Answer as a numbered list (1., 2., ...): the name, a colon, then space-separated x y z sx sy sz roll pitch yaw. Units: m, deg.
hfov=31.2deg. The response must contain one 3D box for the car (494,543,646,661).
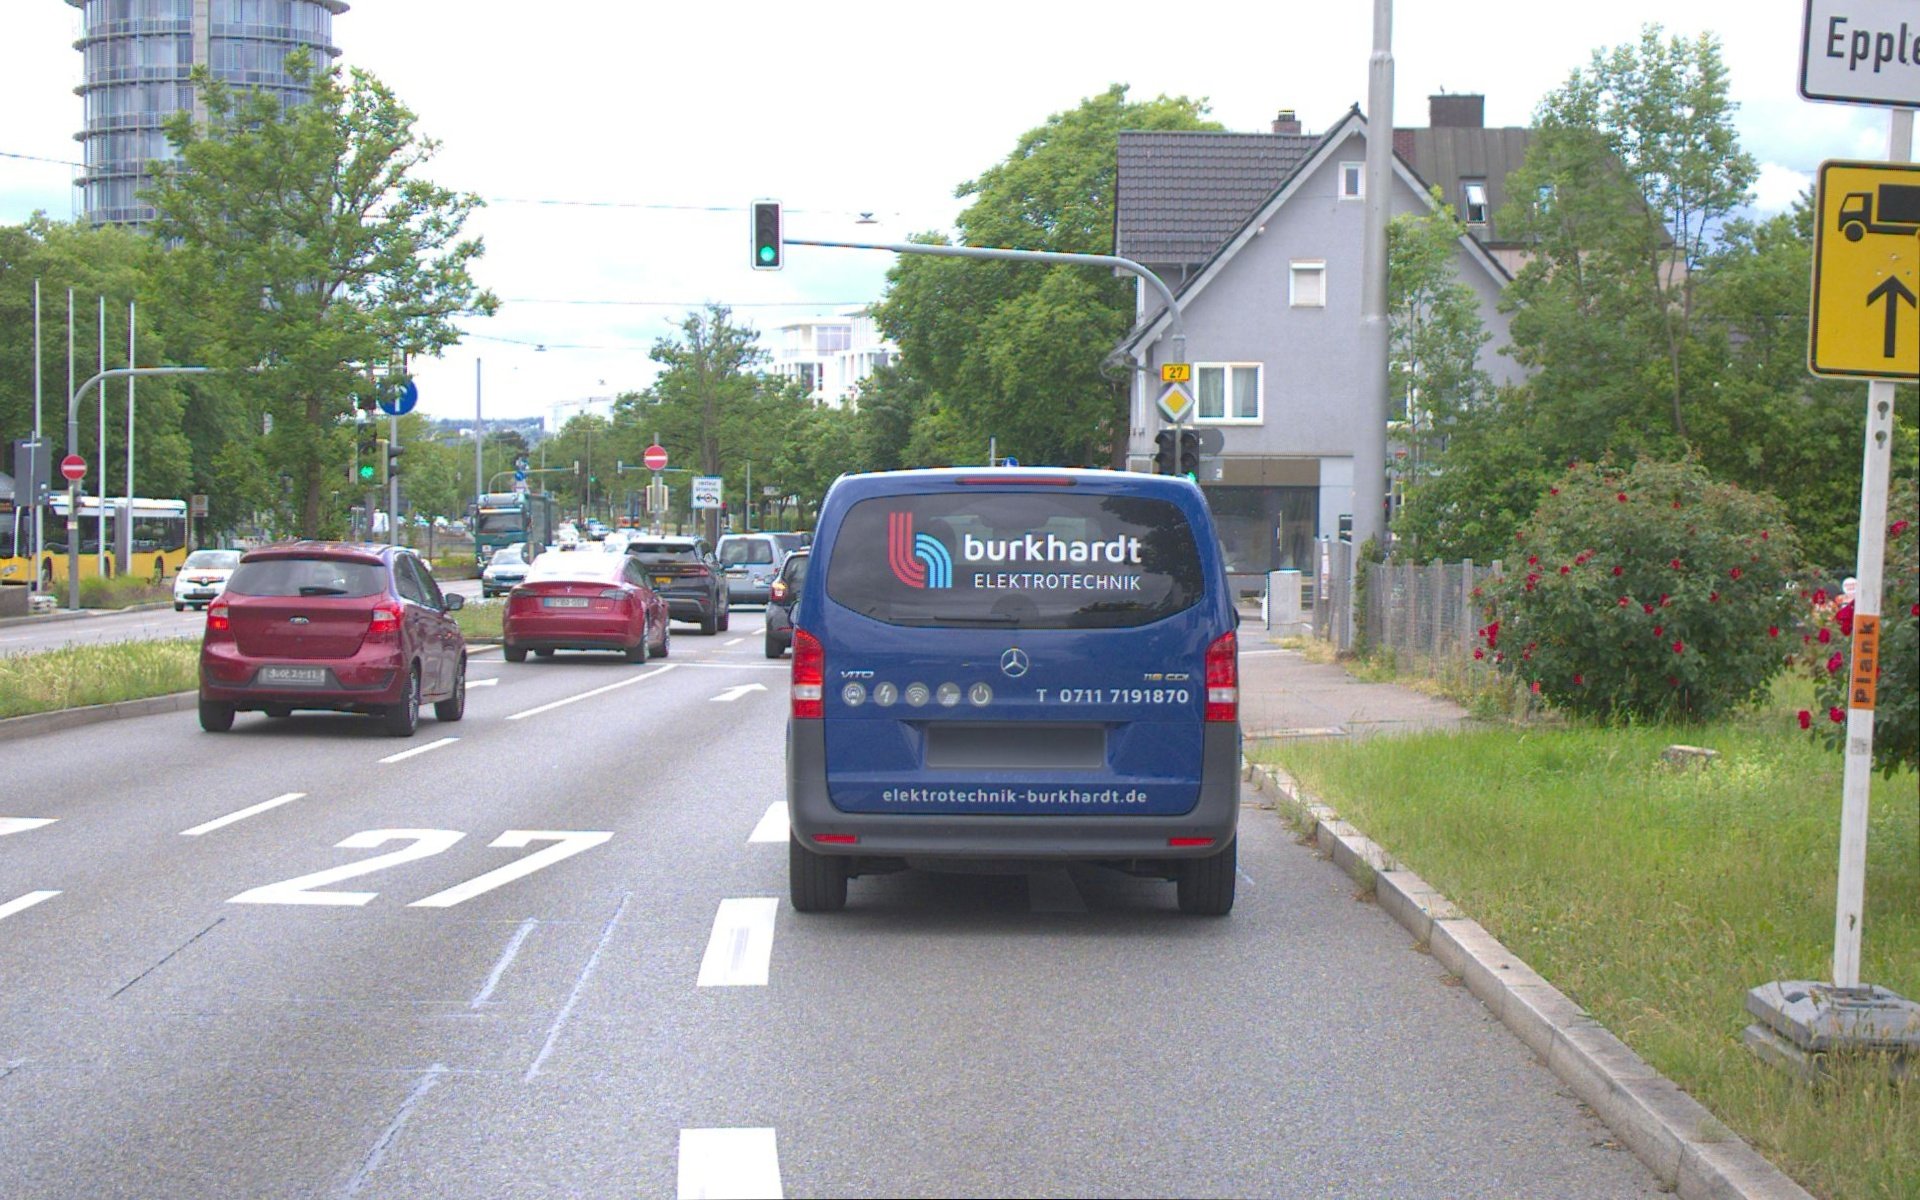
1. car: -5.222 0.035 45.664 1.868 1.481 4.001 -1 0 -8

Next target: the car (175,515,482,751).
1. car: -5.101 0.220 28.261 1.746 1.717 4.000 3 1 -1

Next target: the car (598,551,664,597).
1. car: -14.451 -1.169 151.198 1.994 2.007 4.178 0 1 8

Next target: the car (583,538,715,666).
1. car: -5.323 -0.003 58.474 1.993 2.006 4.001 1 2 -8

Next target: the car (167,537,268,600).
1. car: -18.956 -0.812 87.941 1.624 1.568 4.000 0 1 1

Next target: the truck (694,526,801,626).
1. truck: -4.904 -0.578 80.128 1.993 2.158 5.559 2 1 1

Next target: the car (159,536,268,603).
1. car: -19.065 -0.791 87.925 1.747 1.512 4.000 -6 1 1

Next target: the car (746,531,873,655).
1. car: -2.162 -0.128 49.442 1.746 1.717 4.001 0 1 -2

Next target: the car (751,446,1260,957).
1. car: 0.214 0.370 15.683 1.948 1.959 4.541 1 1 1

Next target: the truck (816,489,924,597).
1. truck: -1.889 -1.209 73.847 1.993 2.158 5.559 2 1 1

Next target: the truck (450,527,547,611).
1. truck: -21.522 -1.456 160.875 3.367 3.714 11.281 1 0 -2
